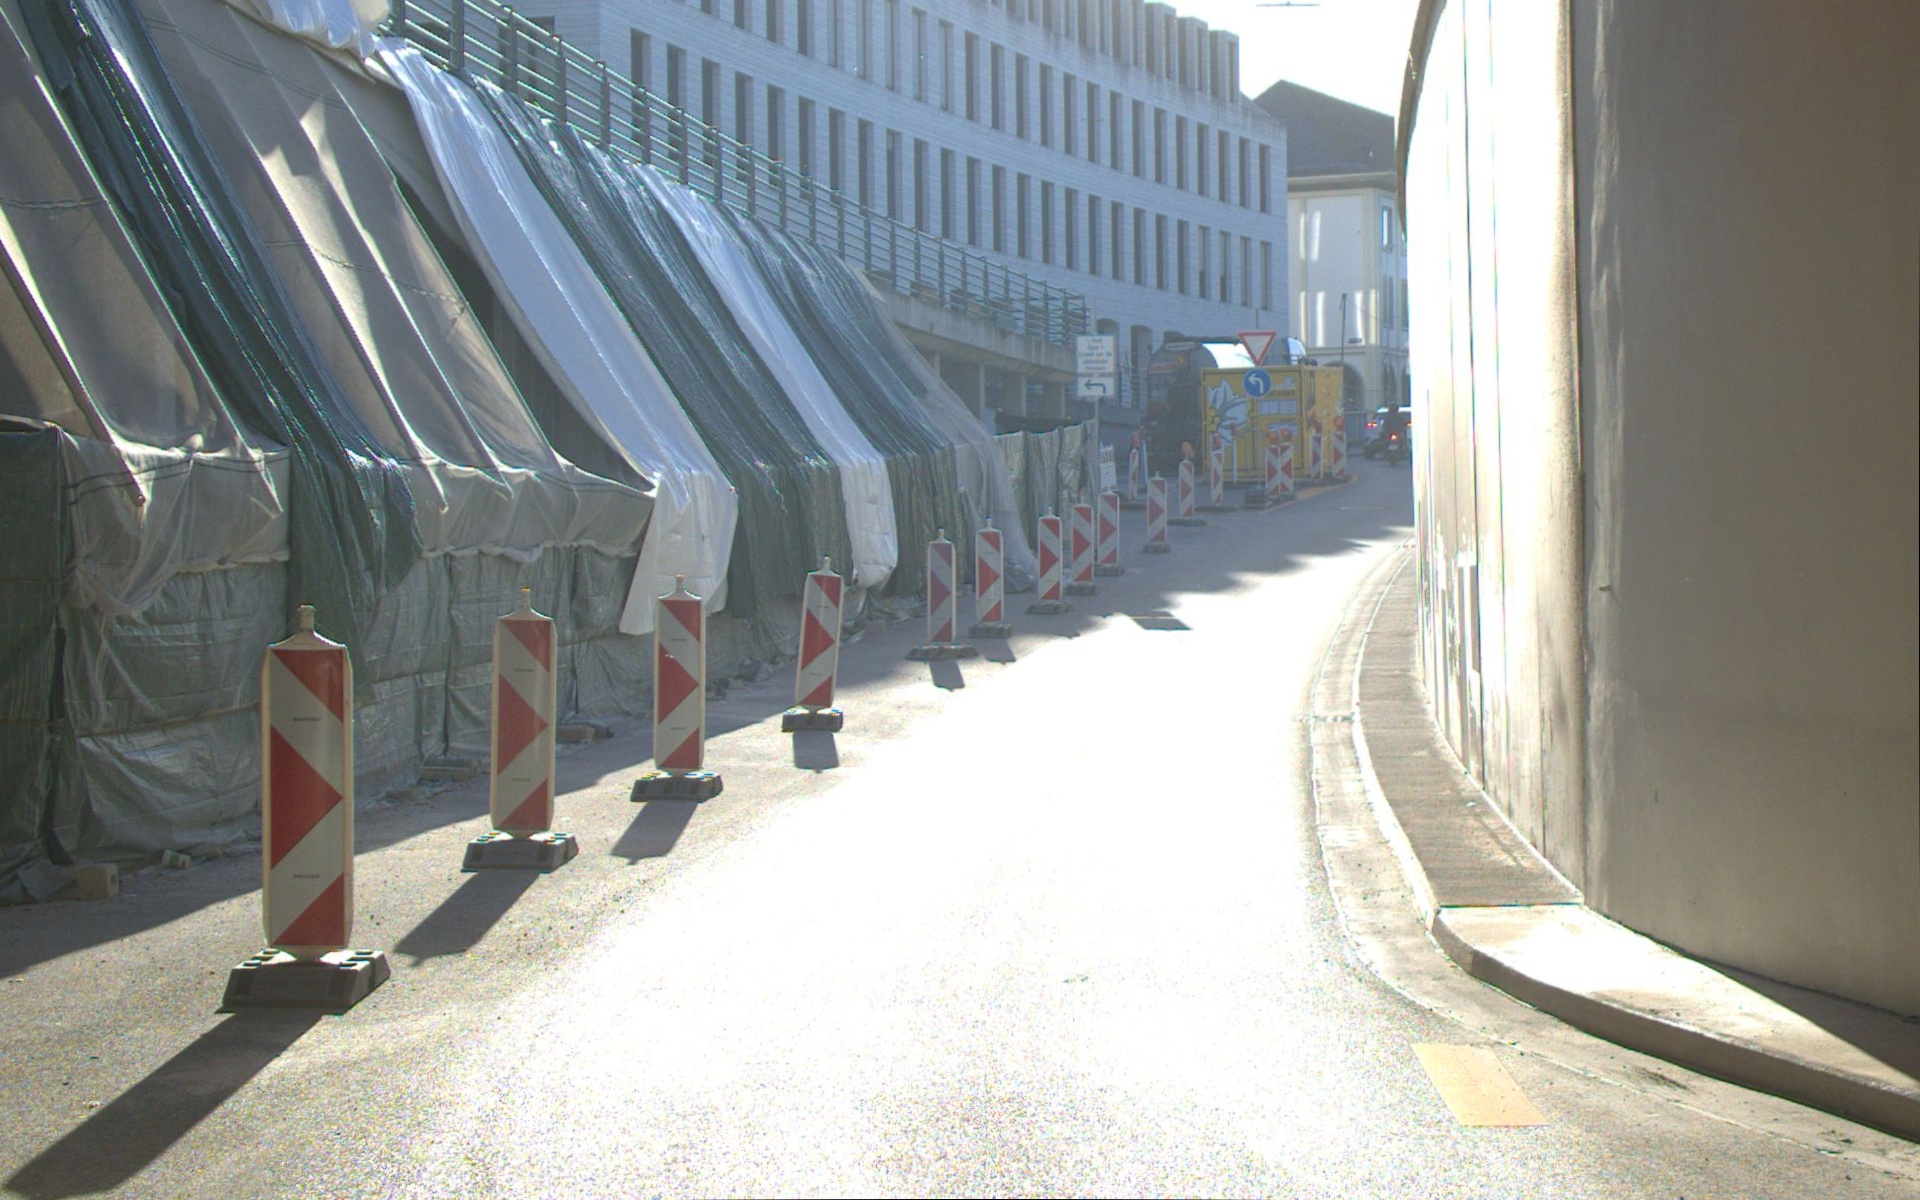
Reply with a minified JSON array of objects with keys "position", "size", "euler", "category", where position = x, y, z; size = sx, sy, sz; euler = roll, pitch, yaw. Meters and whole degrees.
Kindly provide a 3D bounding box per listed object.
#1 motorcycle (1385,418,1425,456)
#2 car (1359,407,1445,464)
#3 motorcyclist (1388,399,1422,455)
[{"position":[12.016,-4.406,92.799],"size":[0.772,0.989,2.182],"euler":[1,3,16],"category":"motorcycle"},{"position":[12.794,-4.753,99.296],"size":[1.777,1.598,3.997],"euler":[1,3,17],"category":"car"},{"position":[12.003,-4.661,92.745],"size":[0.805,1.499,0.776],"euler":[1,3,16],"category":"motorcyclist"}]
